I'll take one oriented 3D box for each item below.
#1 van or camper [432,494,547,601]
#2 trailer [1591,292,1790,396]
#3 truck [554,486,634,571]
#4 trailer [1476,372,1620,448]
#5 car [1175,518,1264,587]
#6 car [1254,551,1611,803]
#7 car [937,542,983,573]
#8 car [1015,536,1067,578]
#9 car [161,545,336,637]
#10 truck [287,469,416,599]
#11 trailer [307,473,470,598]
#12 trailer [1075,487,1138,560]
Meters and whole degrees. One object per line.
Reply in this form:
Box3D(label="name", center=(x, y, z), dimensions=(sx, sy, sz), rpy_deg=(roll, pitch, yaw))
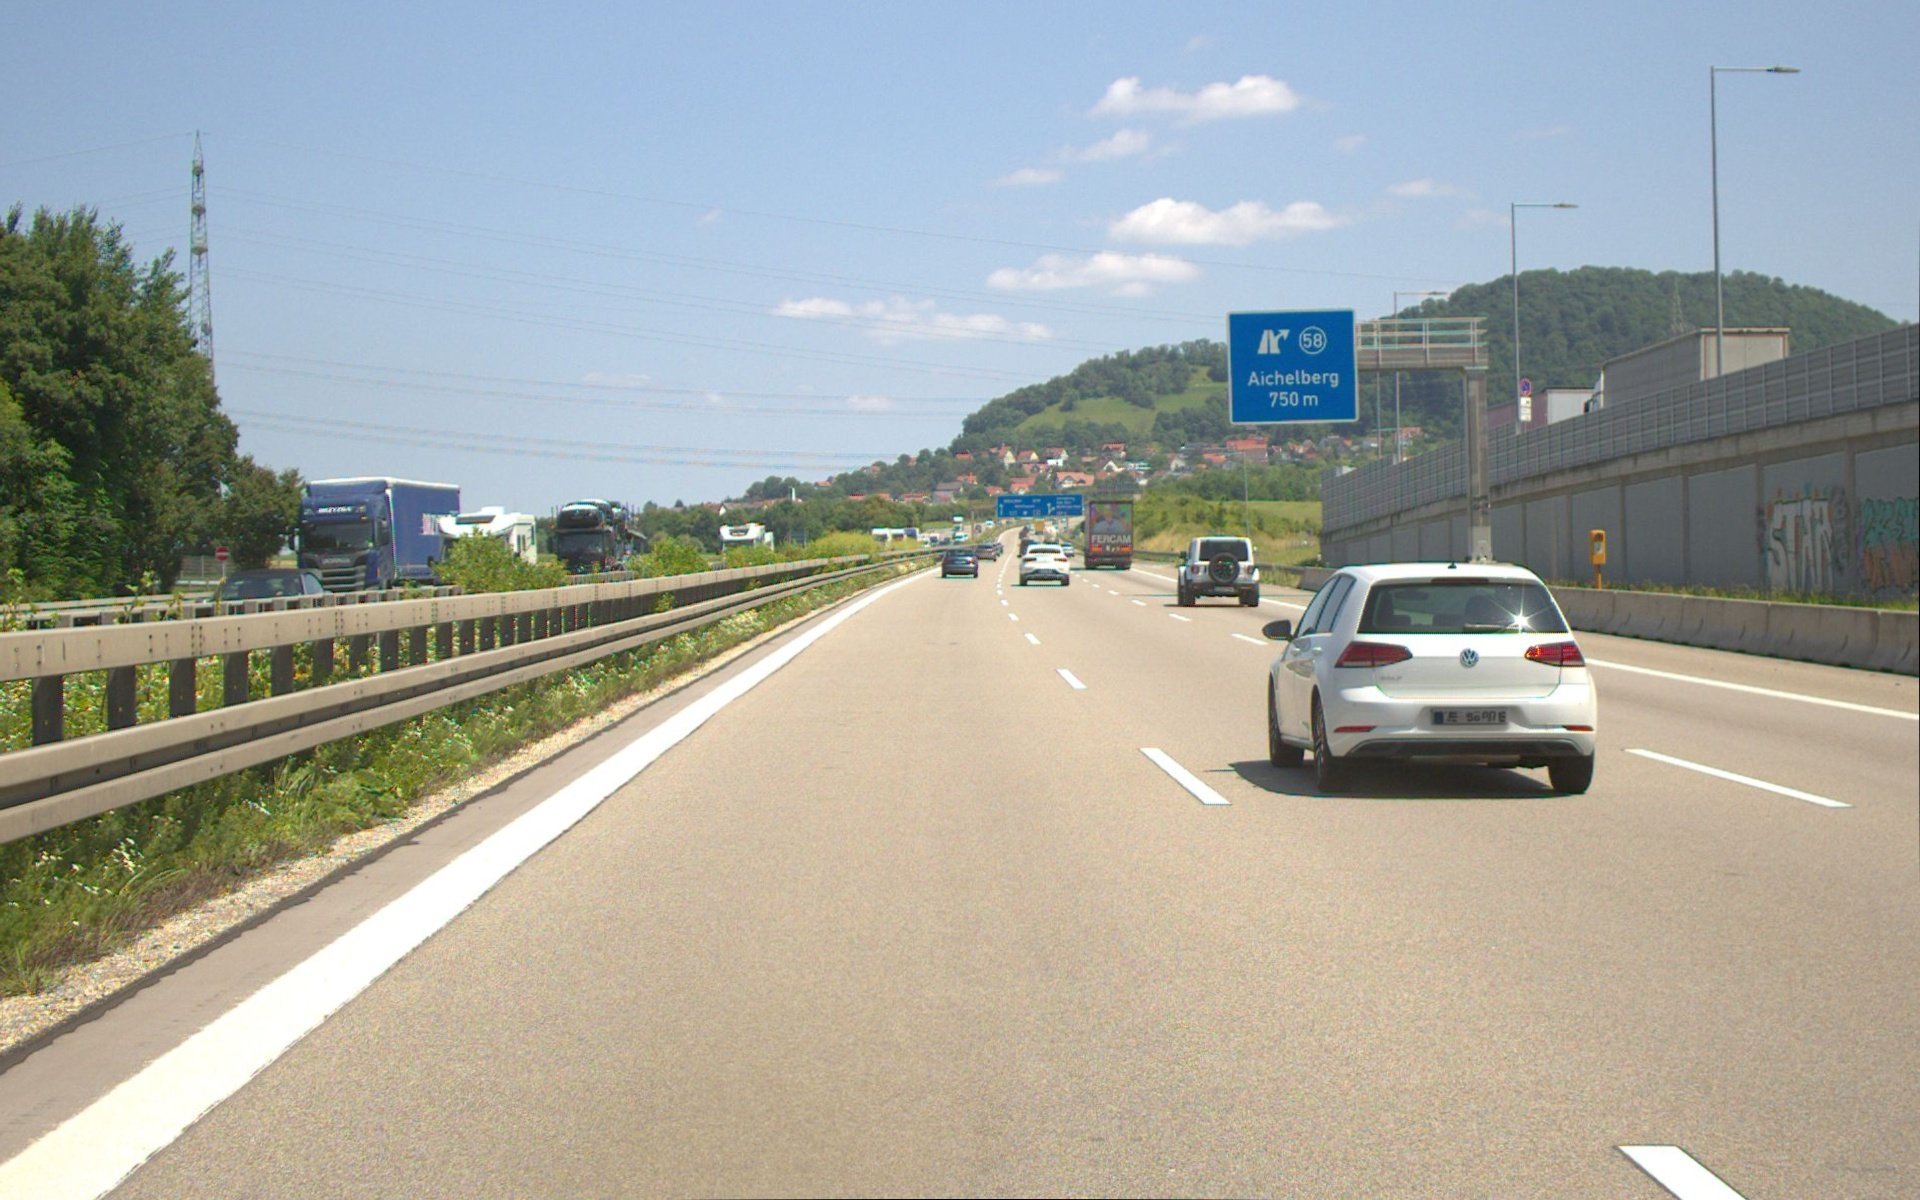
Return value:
Box3D(label="van or camper", center=(-13.748, -1.534, 100.952), dimensions=(2.270, 2.959, 6.953), rpy_deg=(-2, 1, 0))
Box3D(label="trailer", center=(22.125, -7.725, 105.122), dimensions=(2.719, 2.216, 14.529), rpy_deg=(1, 1, -1))
Box3D(label="truck", center=(-16.961, -3.264, 159.703), dimensions=(2.676, 3.806, 9.153), rpy_deg=(1, 1, 0))
Box3D(label="trailer", center=(21.990, -7.079, 129.414), dimensions=(2.719, 2.216, 14.022), rpy_deg=(1, 1, -1))
Box3D(label="car", center=(6.857, -1.256, 91.082), dimensions=(2.034, 1.798, 4.250), rpy_deg=(0, 1, 0))
Box3D(label="car", center=(3.075, 0.436, 23.285), dimensions=(1.776, 1.428, 4.691), rpy_deg=(1, 2, 0))
Box3D(label="car", center=(0.030, -1.980, 159.461), dimensions=(1.993, 1.384, 4.000), rpy_deg=(1, 1, 2))
Box3D(label="car", center=(3.115, -1.665, 133.197), dimensions=(1.914, 1.575, 5.231), rpy_deg=(1, 1, 1))
Box3D(label="car", center=(-10.611, -0.152, 51.532), dimensions=(1.799, 1.305, 4.000), rpy_deg=(1, 1, 0))
Box3D(label="truck", center=(-18.185, -1.949, 103.077), dimensions=(2.848, 3.732, 5.694), rpy_deg=(1, 1, 0))
Box3D(label="trailer", center=(-18.221, -2.011, 110.578), dimensions=(2.842, 3.721, 14.531), rpy_deg=(1, 1, 0))
Box3D(label="trailer", center=(8.636, -4.483, 204.366), dimensions=(2.725, 4.140, 11.809), rpy_deg=(1, 1, -2))
